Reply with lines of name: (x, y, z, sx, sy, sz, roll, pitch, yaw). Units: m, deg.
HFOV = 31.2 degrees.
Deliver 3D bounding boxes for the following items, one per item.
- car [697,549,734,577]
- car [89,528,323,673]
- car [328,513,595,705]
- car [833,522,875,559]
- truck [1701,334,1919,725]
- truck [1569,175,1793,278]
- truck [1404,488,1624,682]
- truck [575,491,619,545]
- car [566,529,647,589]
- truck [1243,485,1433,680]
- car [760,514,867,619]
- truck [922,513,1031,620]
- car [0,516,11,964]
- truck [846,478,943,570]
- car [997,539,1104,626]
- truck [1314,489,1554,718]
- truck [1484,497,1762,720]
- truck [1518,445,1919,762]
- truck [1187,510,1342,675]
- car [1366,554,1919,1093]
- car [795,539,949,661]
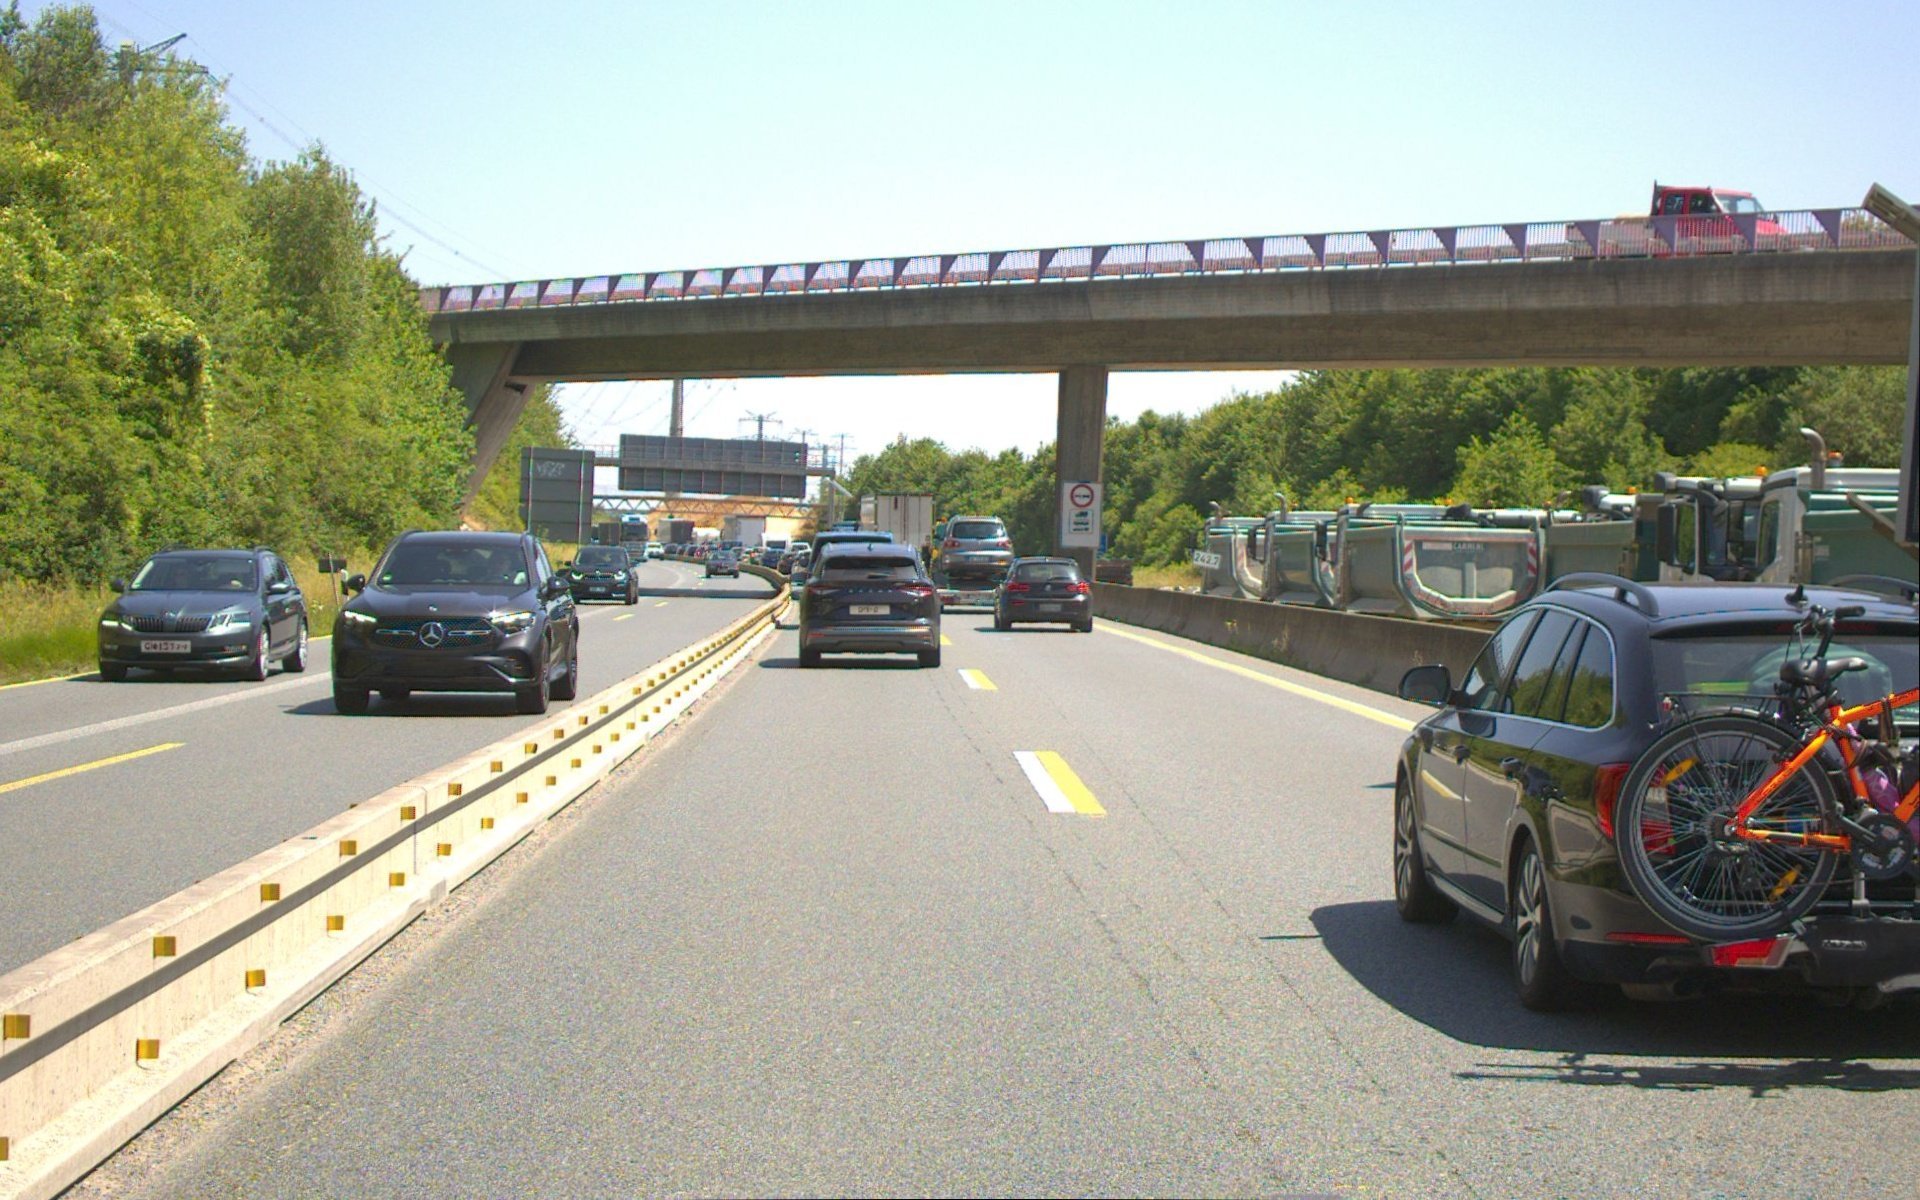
car: (-12.480, -1.899, 175.850, 1.673, 1.388, 4.071, 1, 0, -2)
car: (-8.413, -0.032, 38.685, 1.723, 1.516, 4.185, 1, 1, 0)
car: (-4.588, 0.037, 32.290, 1.843, 1.605, 4.699, 2, 1, -1)
car: (-5.753, -3.207, 185.492, 1.899, 1.962, 4.277, 1, 1, -6)
truck: (9.931, -0.674, 34.321, 2.687, 3.545, 9.326, 1, 1, -2)
truck: (17.945, -9.286, 85.804, 1.931, 2.059, 5.514, 1, 1, -37)
truck: (11.364, -0.371, 71.398, 2.687, 3.714, 9.326, 1, 1, -2)
truck: (-22.267, -4.988, 210.912, 2.508, 3.175, 10.112, 1, 1, -6)
car: (-9.571, -1.121, 93.344, 1.778, 1.571, 4.069, 1, 1, 0)
truck: (7.948, -0.429, 73.389, 2.687, 3.843, 9.326, 1, 1, -2)
car: (-2.833, -0.662, 67.224, 1.899, 1.962, 4.276, 1, 1, 0)
truck: (0.362, -0.898, 86.866, 2.405, 2.549, 7.501, 1, 1, -2)
car: (-3.924, 0.515, 8.603, 1.843, 1.528, 4.671, 2, 1, -1)
truck: (-2.930, -3.296, 150.502, 3.292, 3.832, 10.112, 1, 1, -6)
car: (1.712, -0.360, 66.417, 1.899, 1.580, 4.276, 1, 1, 0)
truck: (8.355, -0.016, 61.823, 2.687, 3.748, 9.326, 1, 1, -2)
truck: (11.377, 0.065, 59.978, 2.687, 3.545, 9.326, 1, 1, -2)
truck: (9.389, -0.035, 43.741, 2.687, 3.545, 9.326, 1, 1, -2)
truck: (7.498, -0.257, 85.809, 2.687, 3.830, 9.326, 1, 1, -2)
car: (2.698, 0.614, 12.073, 1.899, 1.485, 4.947, 1, 0, 0)
car: (-1.121, -0.025, 45.413, 1.899, 1.500, 4.276, 1, 1, 0)
